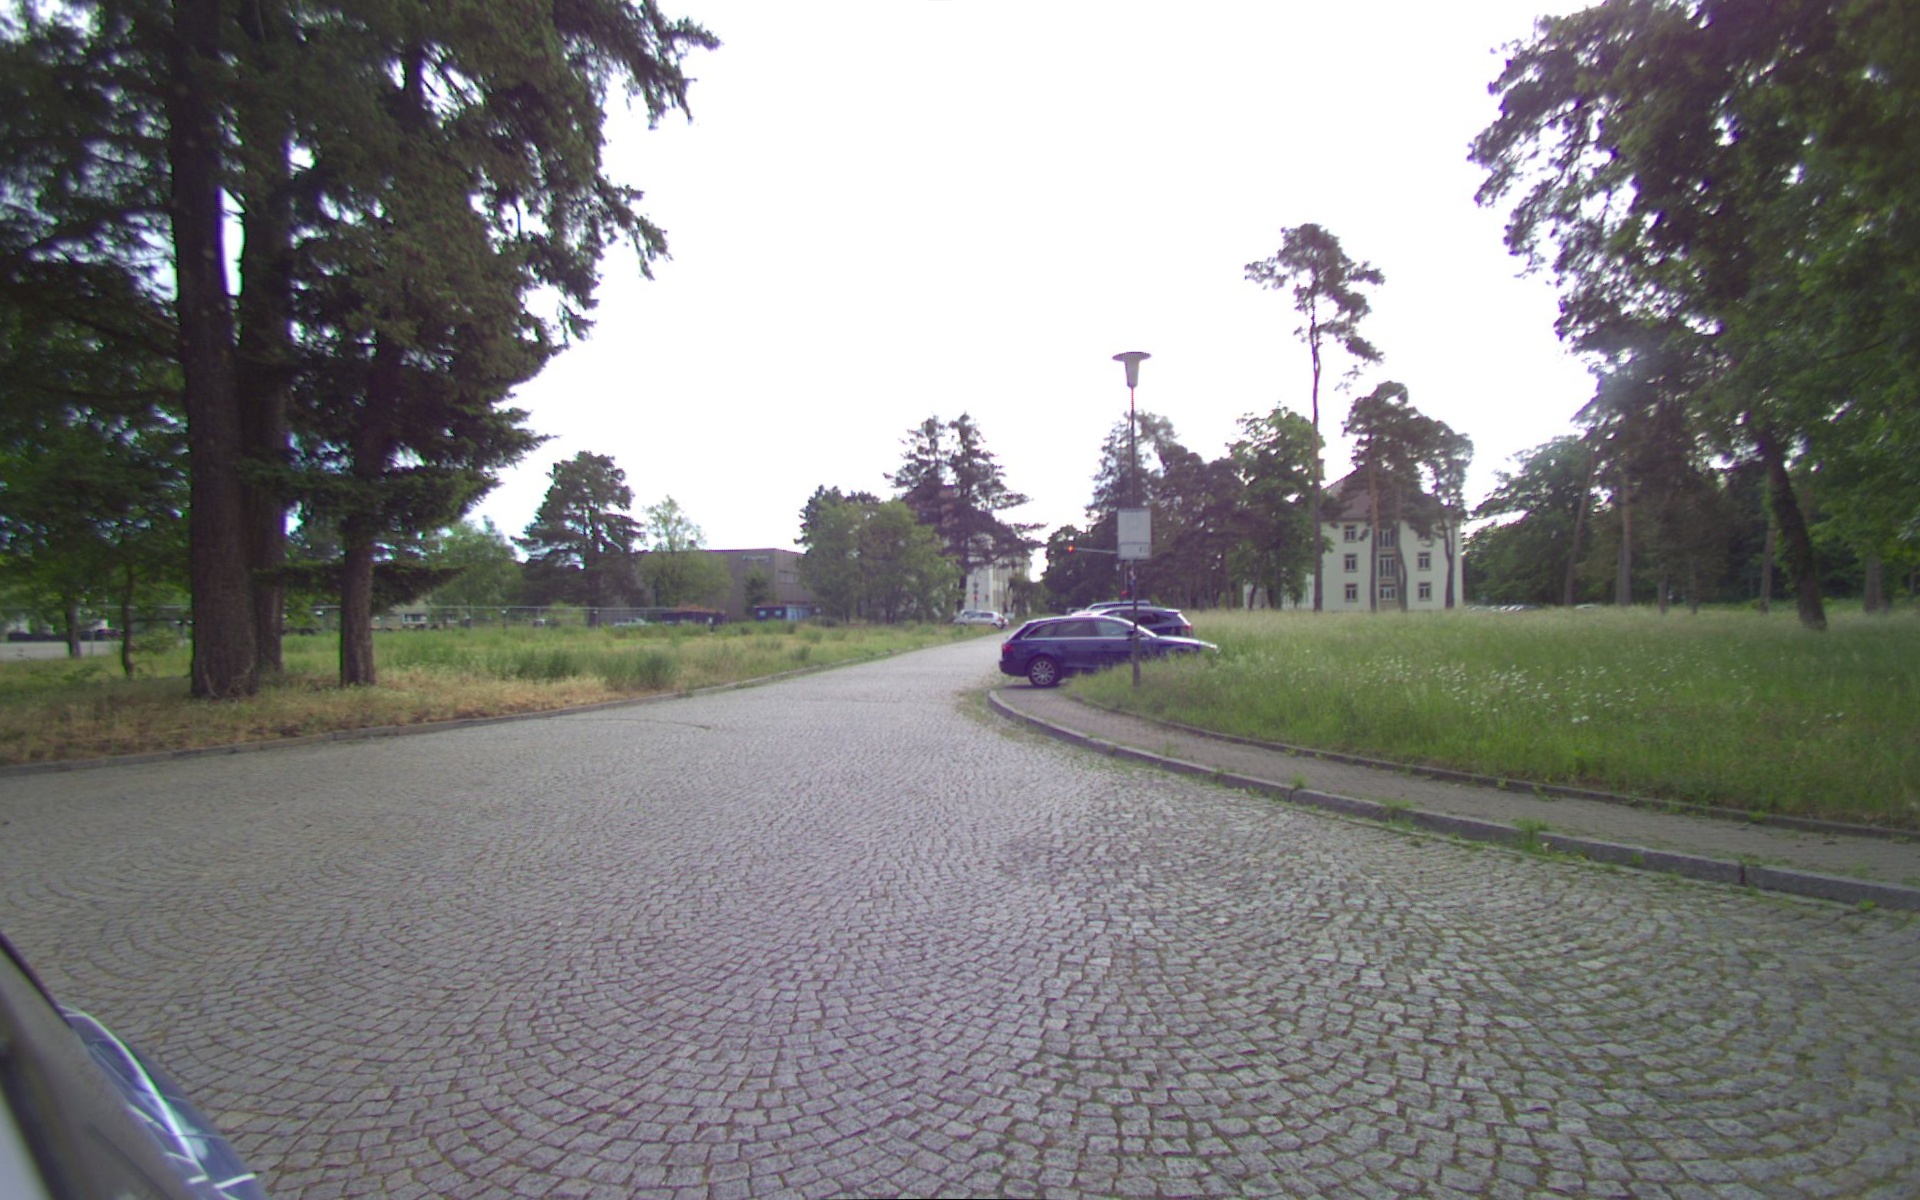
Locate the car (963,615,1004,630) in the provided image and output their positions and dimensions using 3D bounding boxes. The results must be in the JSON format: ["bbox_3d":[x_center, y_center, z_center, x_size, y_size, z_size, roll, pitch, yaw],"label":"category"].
[{"bbox_3d":[1.916,1.787,81.292,3.229,1.095,1.395,-1,-1,6],"label":"car"}]

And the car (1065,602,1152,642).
[{"bbox_3d":[7.993,1.199,54.722,4.492,1.916,1.789,-3,-1,8],"label":"car"}]

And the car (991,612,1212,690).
[{"bbox_3d":[2.922,1.047,20.975,4.309,1.415,1.757,-2,-1,12],"label":"car"}]

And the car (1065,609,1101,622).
[{"bbox_3d":[17.598,2.217,144.691,4.920,1.634,1.900,-1,-1,2],"label":"car"}]

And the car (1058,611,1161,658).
[{"bbox_3d":[5.248,1.202,35.742,3.459,1.493,1.598,-3,-1,8],"label":"car"}]

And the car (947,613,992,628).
[{"bbox_3d":[0.776,1.718,84.400,3.554,1.220,1.580,-1,-1,8],"label":"car"}]

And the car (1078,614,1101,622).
[{"bbox_3d":[18.020,2.489,141.170,3.077,1.060,1.339,-1,-1,2],"label":"car"}]

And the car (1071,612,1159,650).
[{"bbox_3d":[6.587,1.328,43.266,3.620,1.432,1.574,-3,-1,8],"label":"car"}]

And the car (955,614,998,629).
[{"bbox_3d":[1.312,1.681,78.911,3.229,1.095,1.447,-1,-1,6],"label":"car"}]

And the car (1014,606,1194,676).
[{"bbox_3d":[3.603,1.025,25.660,4.315,1.574,1.760,-2,-1,8],"label":"car"}]

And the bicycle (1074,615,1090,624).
[{"bbox_3d":[15.324,2.426,127.036,1.837,1.103,0.510,-1,-1,2],"label":"bicycle"}]

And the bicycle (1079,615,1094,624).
[{"bbox_3d":[16.055,2.412,128.240,1.837,1.103,0.510,-1,-1,2],"label":"bicycle"}]

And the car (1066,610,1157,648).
[{"bbox_3d":[6.846,1.307,45.957,3.907,1.557,1.760,-3,-1,8],"label":"car"}]
